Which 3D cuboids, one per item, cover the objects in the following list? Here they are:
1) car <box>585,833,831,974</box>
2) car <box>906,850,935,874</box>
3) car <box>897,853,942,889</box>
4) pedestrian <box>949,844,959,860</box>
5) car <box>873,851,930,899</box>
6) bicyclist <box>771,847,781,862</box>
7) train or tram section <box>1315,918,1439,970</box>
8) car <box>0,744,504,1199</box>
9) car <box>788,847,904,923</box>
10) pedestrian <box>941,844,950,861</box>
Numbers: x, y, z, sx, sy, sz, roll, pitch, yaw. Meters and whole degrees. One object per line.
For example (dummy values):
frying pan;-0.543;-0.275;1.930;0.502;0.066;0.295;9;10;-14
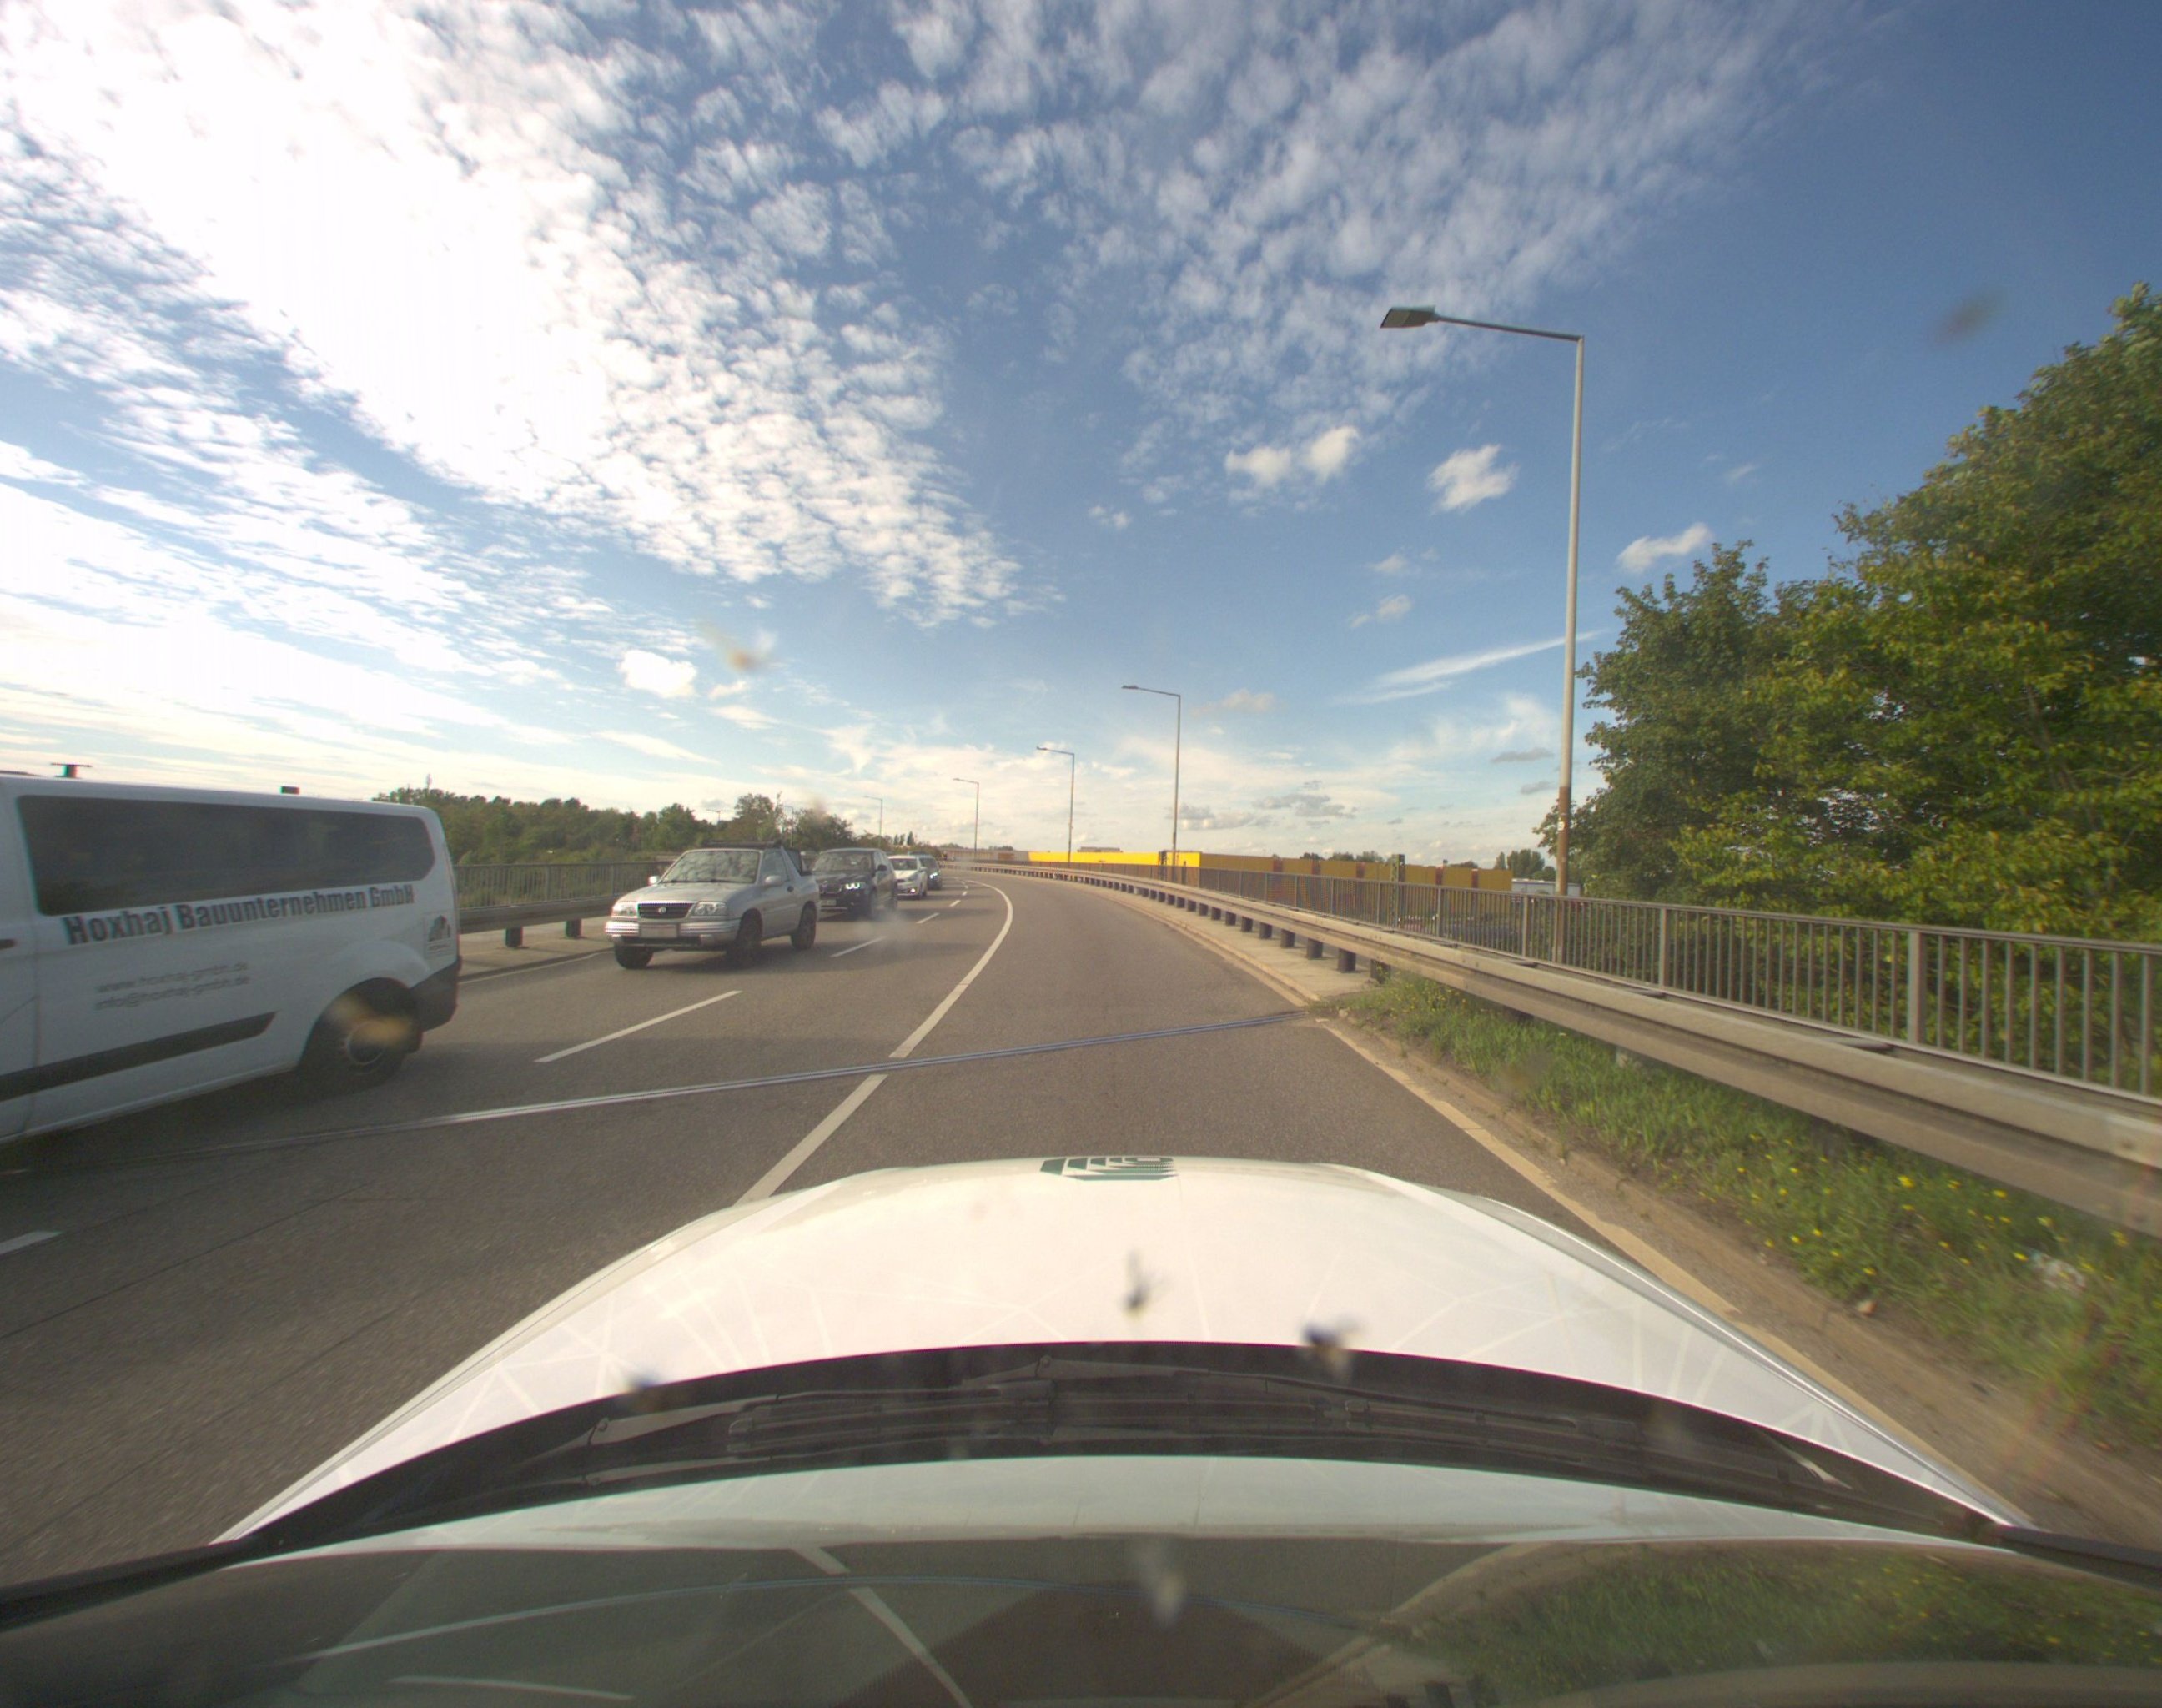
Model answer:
car;-5.206;0.606;11.987;1.767;1.746;3.838;0;0;1
car;-11.704;0.551;59.082;1.832;1.672;4.842;0;0;-14
car;-7.051;0.711;35.694;1.813;1.456;4.309;0;0;-11
pedestrian;-12.773;-0.177;81.838;0.680;1.543;0.952;0;-1;-27
car;-6.180;0.687;28.377;1.682;1.545;3.911;0;0;-9
bicyclist;-35.583;0.077;95.102;0.773;1.660;1.106;1;-1;-43
train or tram section;33.749;10.003;92.373;16.796;4.712;3.067;0;-1;-30
car;-5.640;0.509;3.894;1.977;1.964;5.052;0;0;3
car;-5.700;0.667;20.324;1.866;1.666;4.622;0;0;-5
pedestrian;-13.550;-0.179;81.372;0.680;1.661;0.858;0;-1;-27
